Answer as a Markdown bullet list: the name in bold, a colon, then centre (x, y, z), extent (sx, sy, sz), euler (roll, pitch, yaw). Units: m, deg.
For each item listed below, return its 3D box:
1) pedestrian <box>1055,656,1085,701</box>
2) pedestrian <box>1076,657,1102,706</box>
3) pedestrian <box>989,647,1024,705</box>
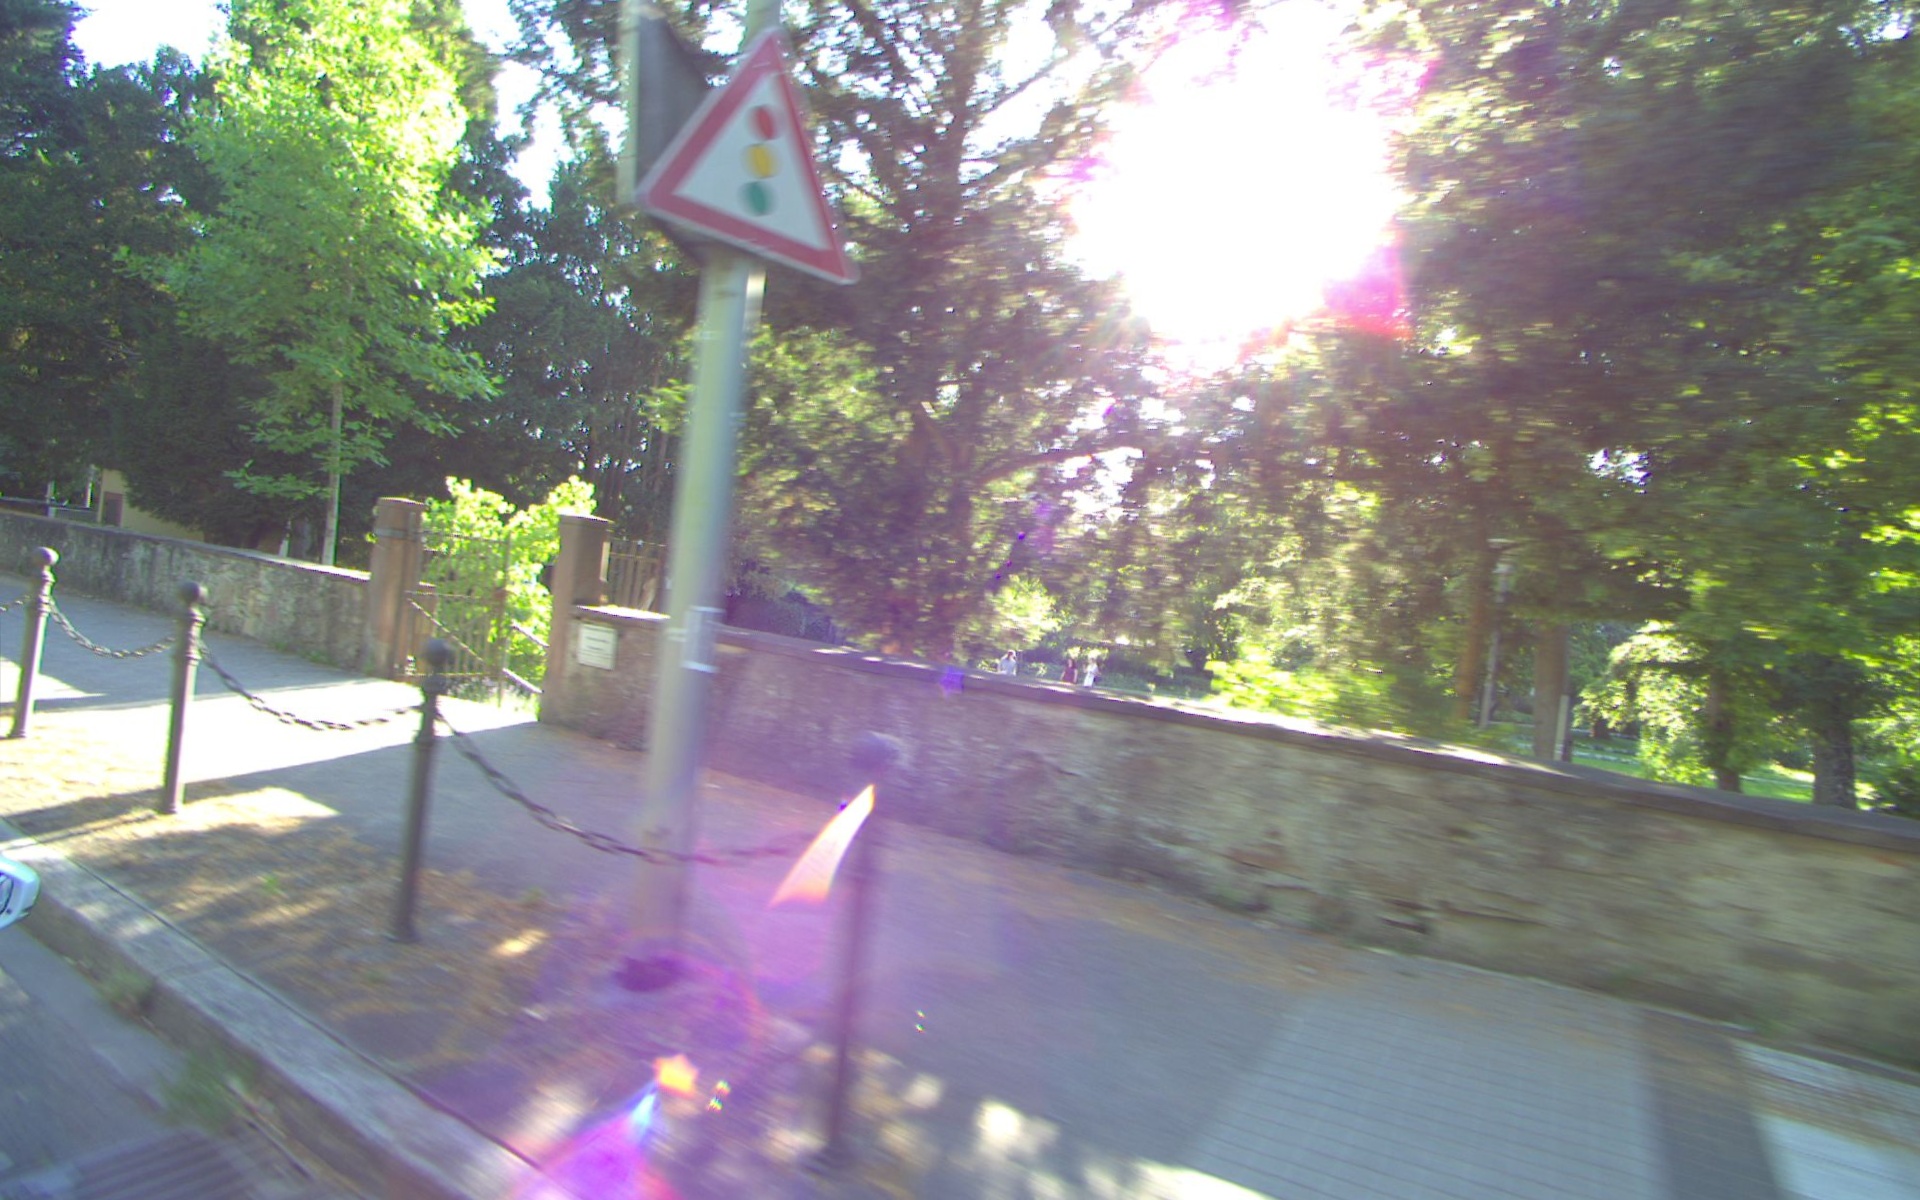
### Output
- **pedestrian**: centre (4.216, 3.007, 38.508), extent (0.749, 1.636, 0.565), euler (7, -2, 35)
- **pedestrian**: centre (4.904, 3.096, 38.153), extent (0.588, 1.749, 0.591), euler (7, -2, 31)
- **pedestrian**: centre (1.416, 2.332, 30.707), extent (0.626, 1.659, 0.615), euler (7, -2, 33)
